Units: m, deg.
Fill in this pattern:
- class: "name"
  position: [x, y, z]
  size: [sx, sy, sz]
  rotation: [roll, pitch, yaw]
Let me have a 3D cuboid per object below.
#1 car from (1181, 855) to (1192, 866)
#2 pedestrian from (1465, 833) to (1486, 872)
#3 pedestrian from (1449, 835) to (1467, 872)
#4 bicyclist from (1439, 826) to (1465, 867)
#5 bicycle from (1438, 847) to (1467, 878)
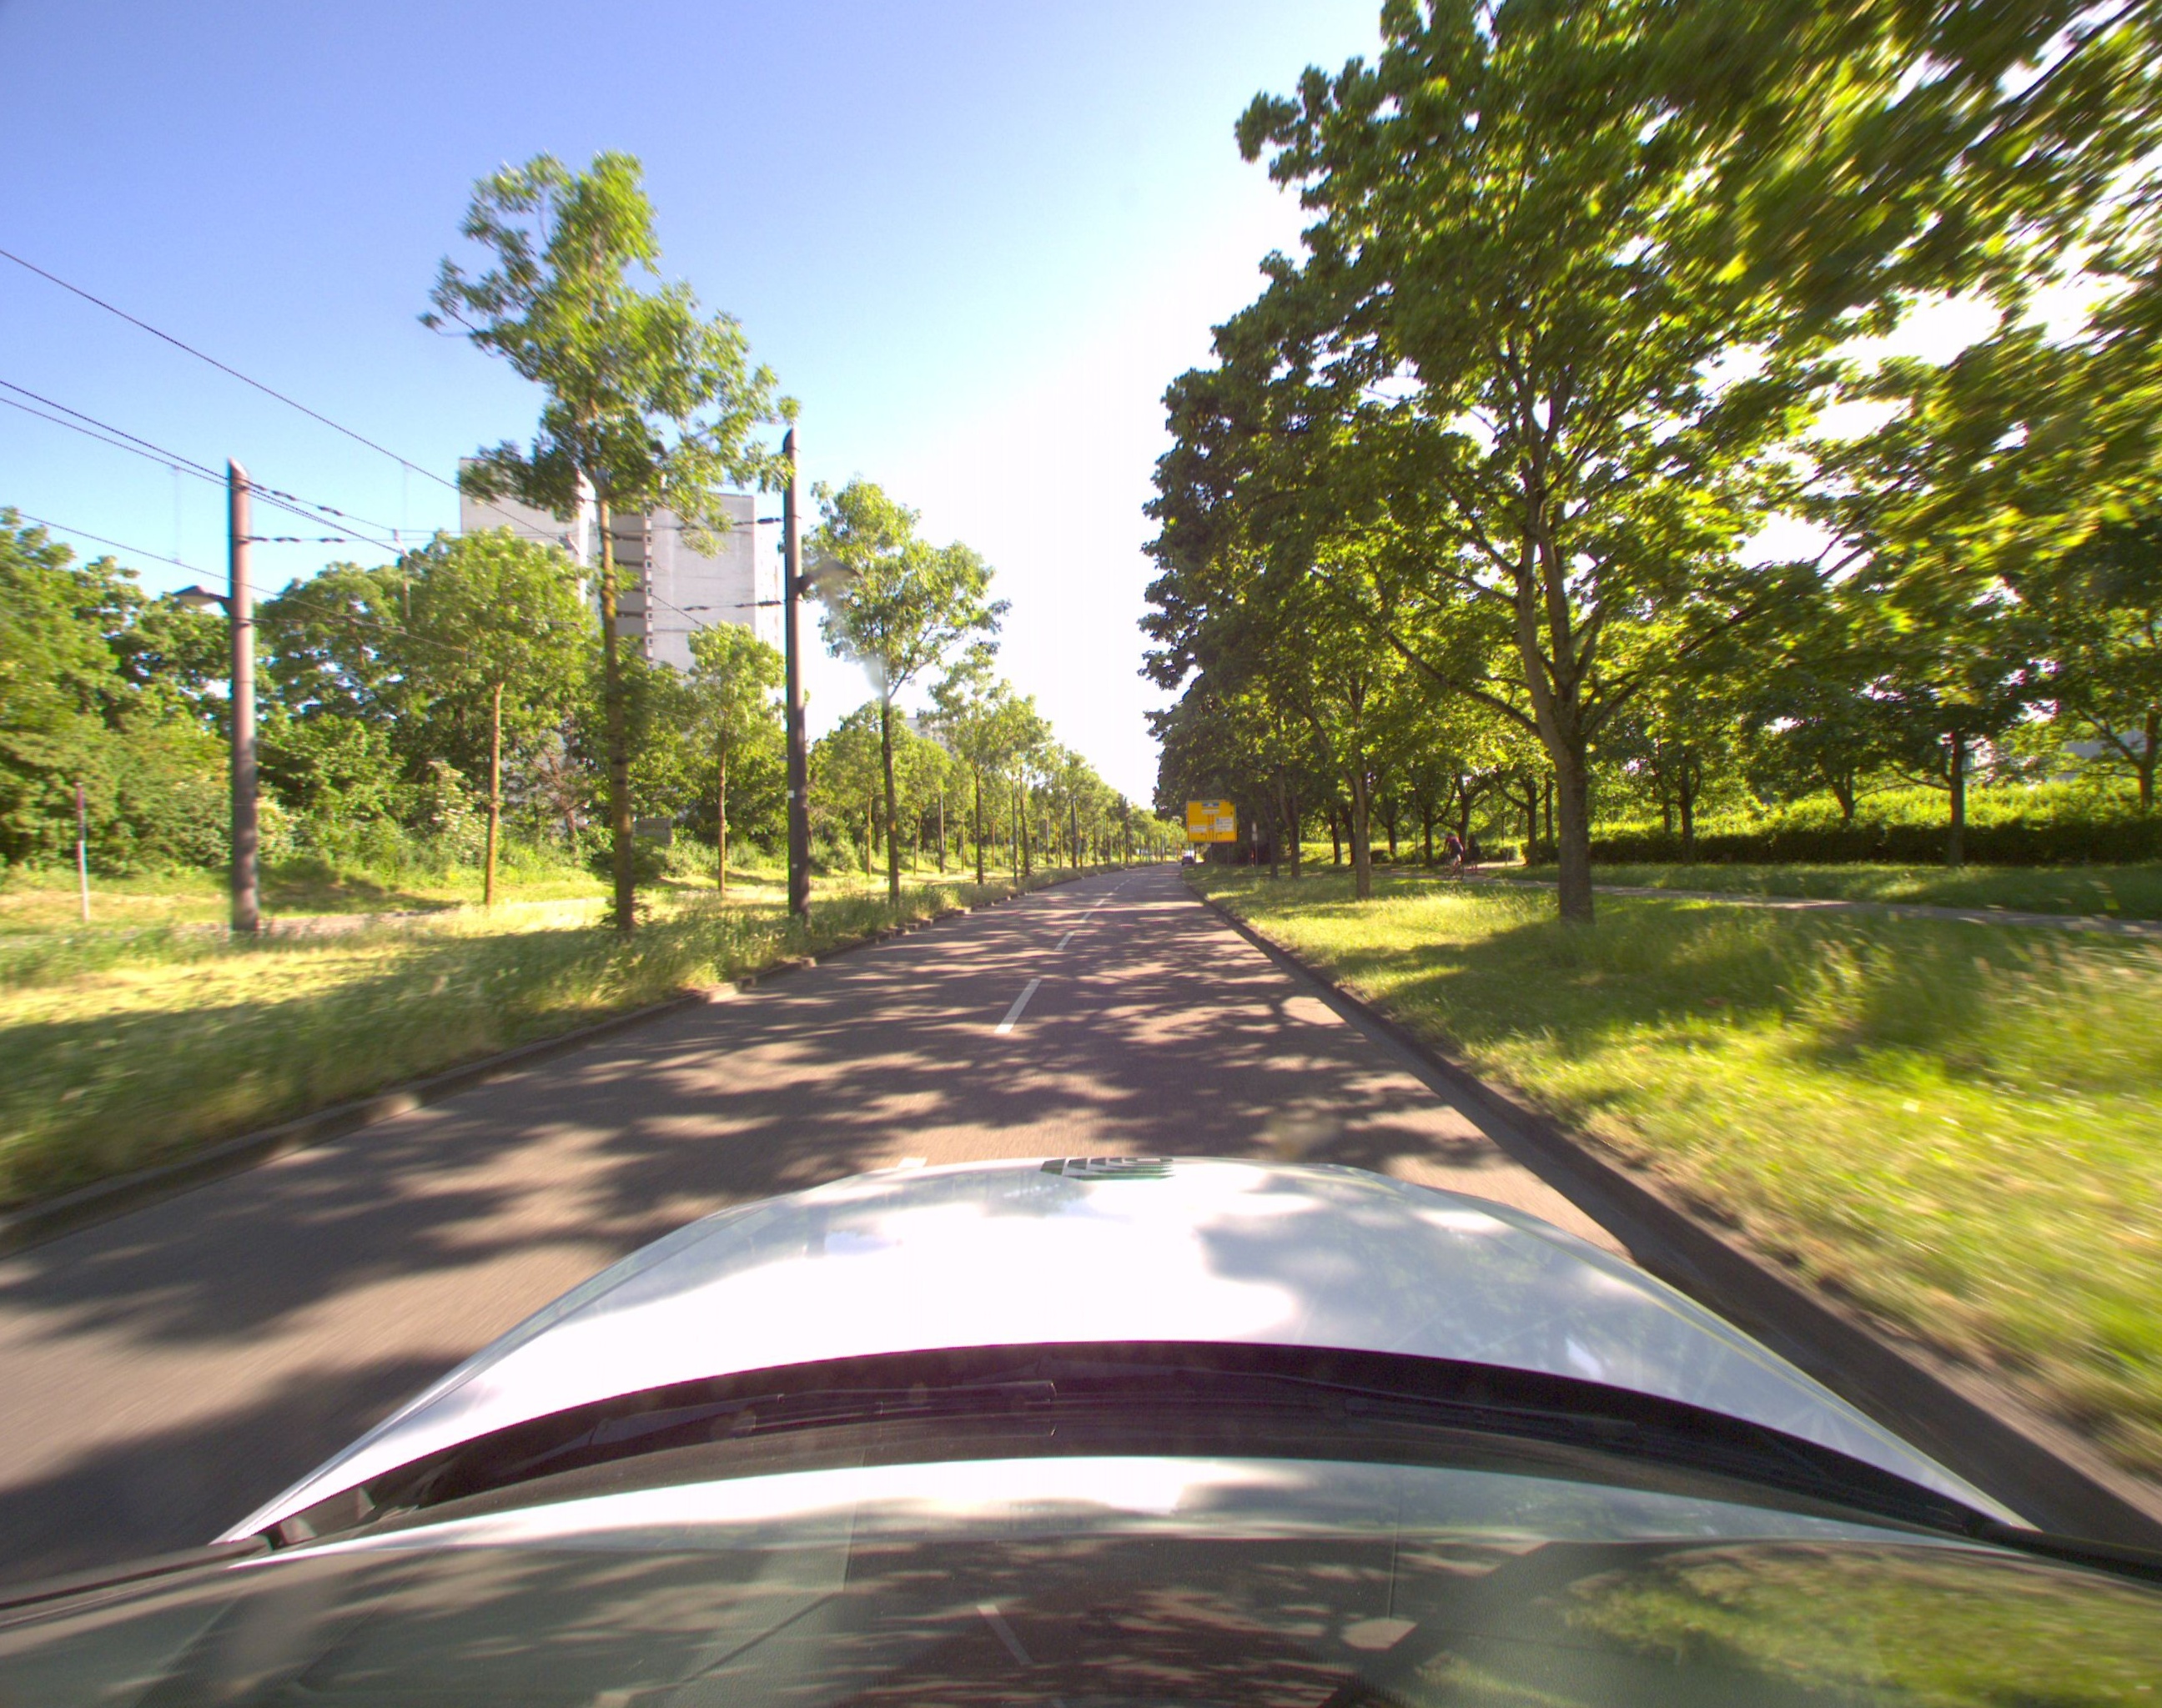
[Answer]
- class: "car"
  position: [15.554, 0.941, 119.963]
  size: [1.625, 1.498, 4.245]
  rotation: [-1, 0, 9]
- class: "pedestrian"
  position: [17.306, -0.070, 35.710]
  size: [0.631, 1.691, 0.847]
  rotation: [-2, 0, 15]
- class: "pedestrian"
  position: [16.771, -0.014, 36.219]
  size: [0.542, 1.622, 0.847]
  rotation: [-2, 0, 15]
- class: "bicyclist"
  position: [13.389, -0.262, 29.415]
  size: [0.782, 1.450, 0.849]
  rotation: [-2, 0, 21]
- class: "bicycle"
  position: [13.441, 0.298, 29.508]
  size: [0.787, 1.047, 2.154]
  rotation: [-2, 0, 21]
